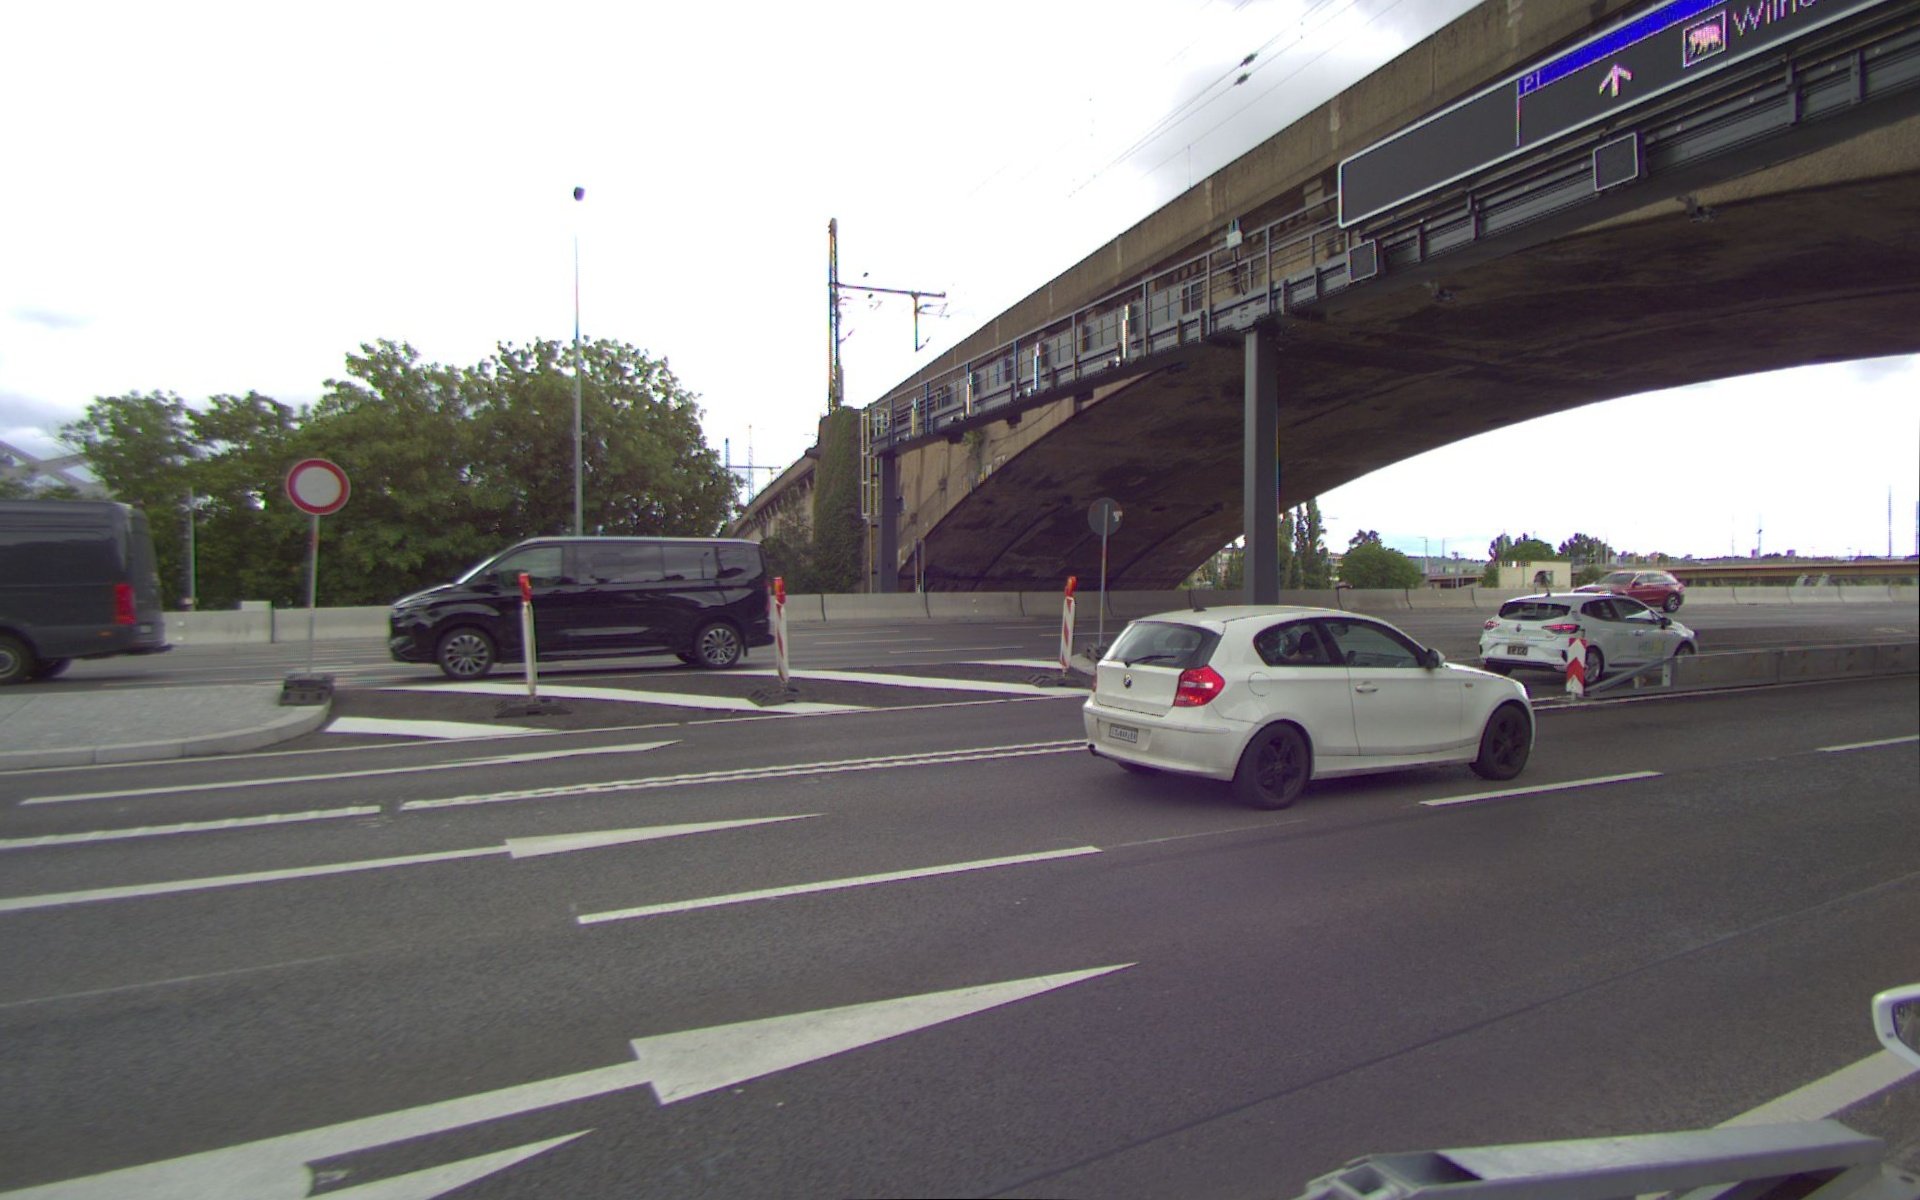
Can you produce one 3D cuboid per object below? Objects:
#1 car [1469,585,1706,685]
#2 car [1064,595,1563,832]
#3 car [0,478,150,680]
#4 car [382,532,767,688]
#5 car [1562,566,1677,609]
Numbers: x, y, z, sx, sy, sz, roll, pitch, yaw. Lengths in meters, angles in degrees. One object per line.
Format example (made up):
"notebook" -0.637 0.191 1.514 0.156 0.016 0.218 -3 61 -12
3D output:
"car" 10.618 0.526 16.964 3.945 1.504 1.570 0 2 -27
"car" 2.959 0.757 8.339 3.929 1.452 1.632 -1 3 -26
"car" -15.538 -0.286 14.132 6.070 2.814 2.205 -1 2 -29
"car" -5.712 0.024 15.216 5.124 2.041 1.954 -2 3 -28
"car" 26.375 -0.524 40.172 3.931 1.638 1.697 -1 2 -16
